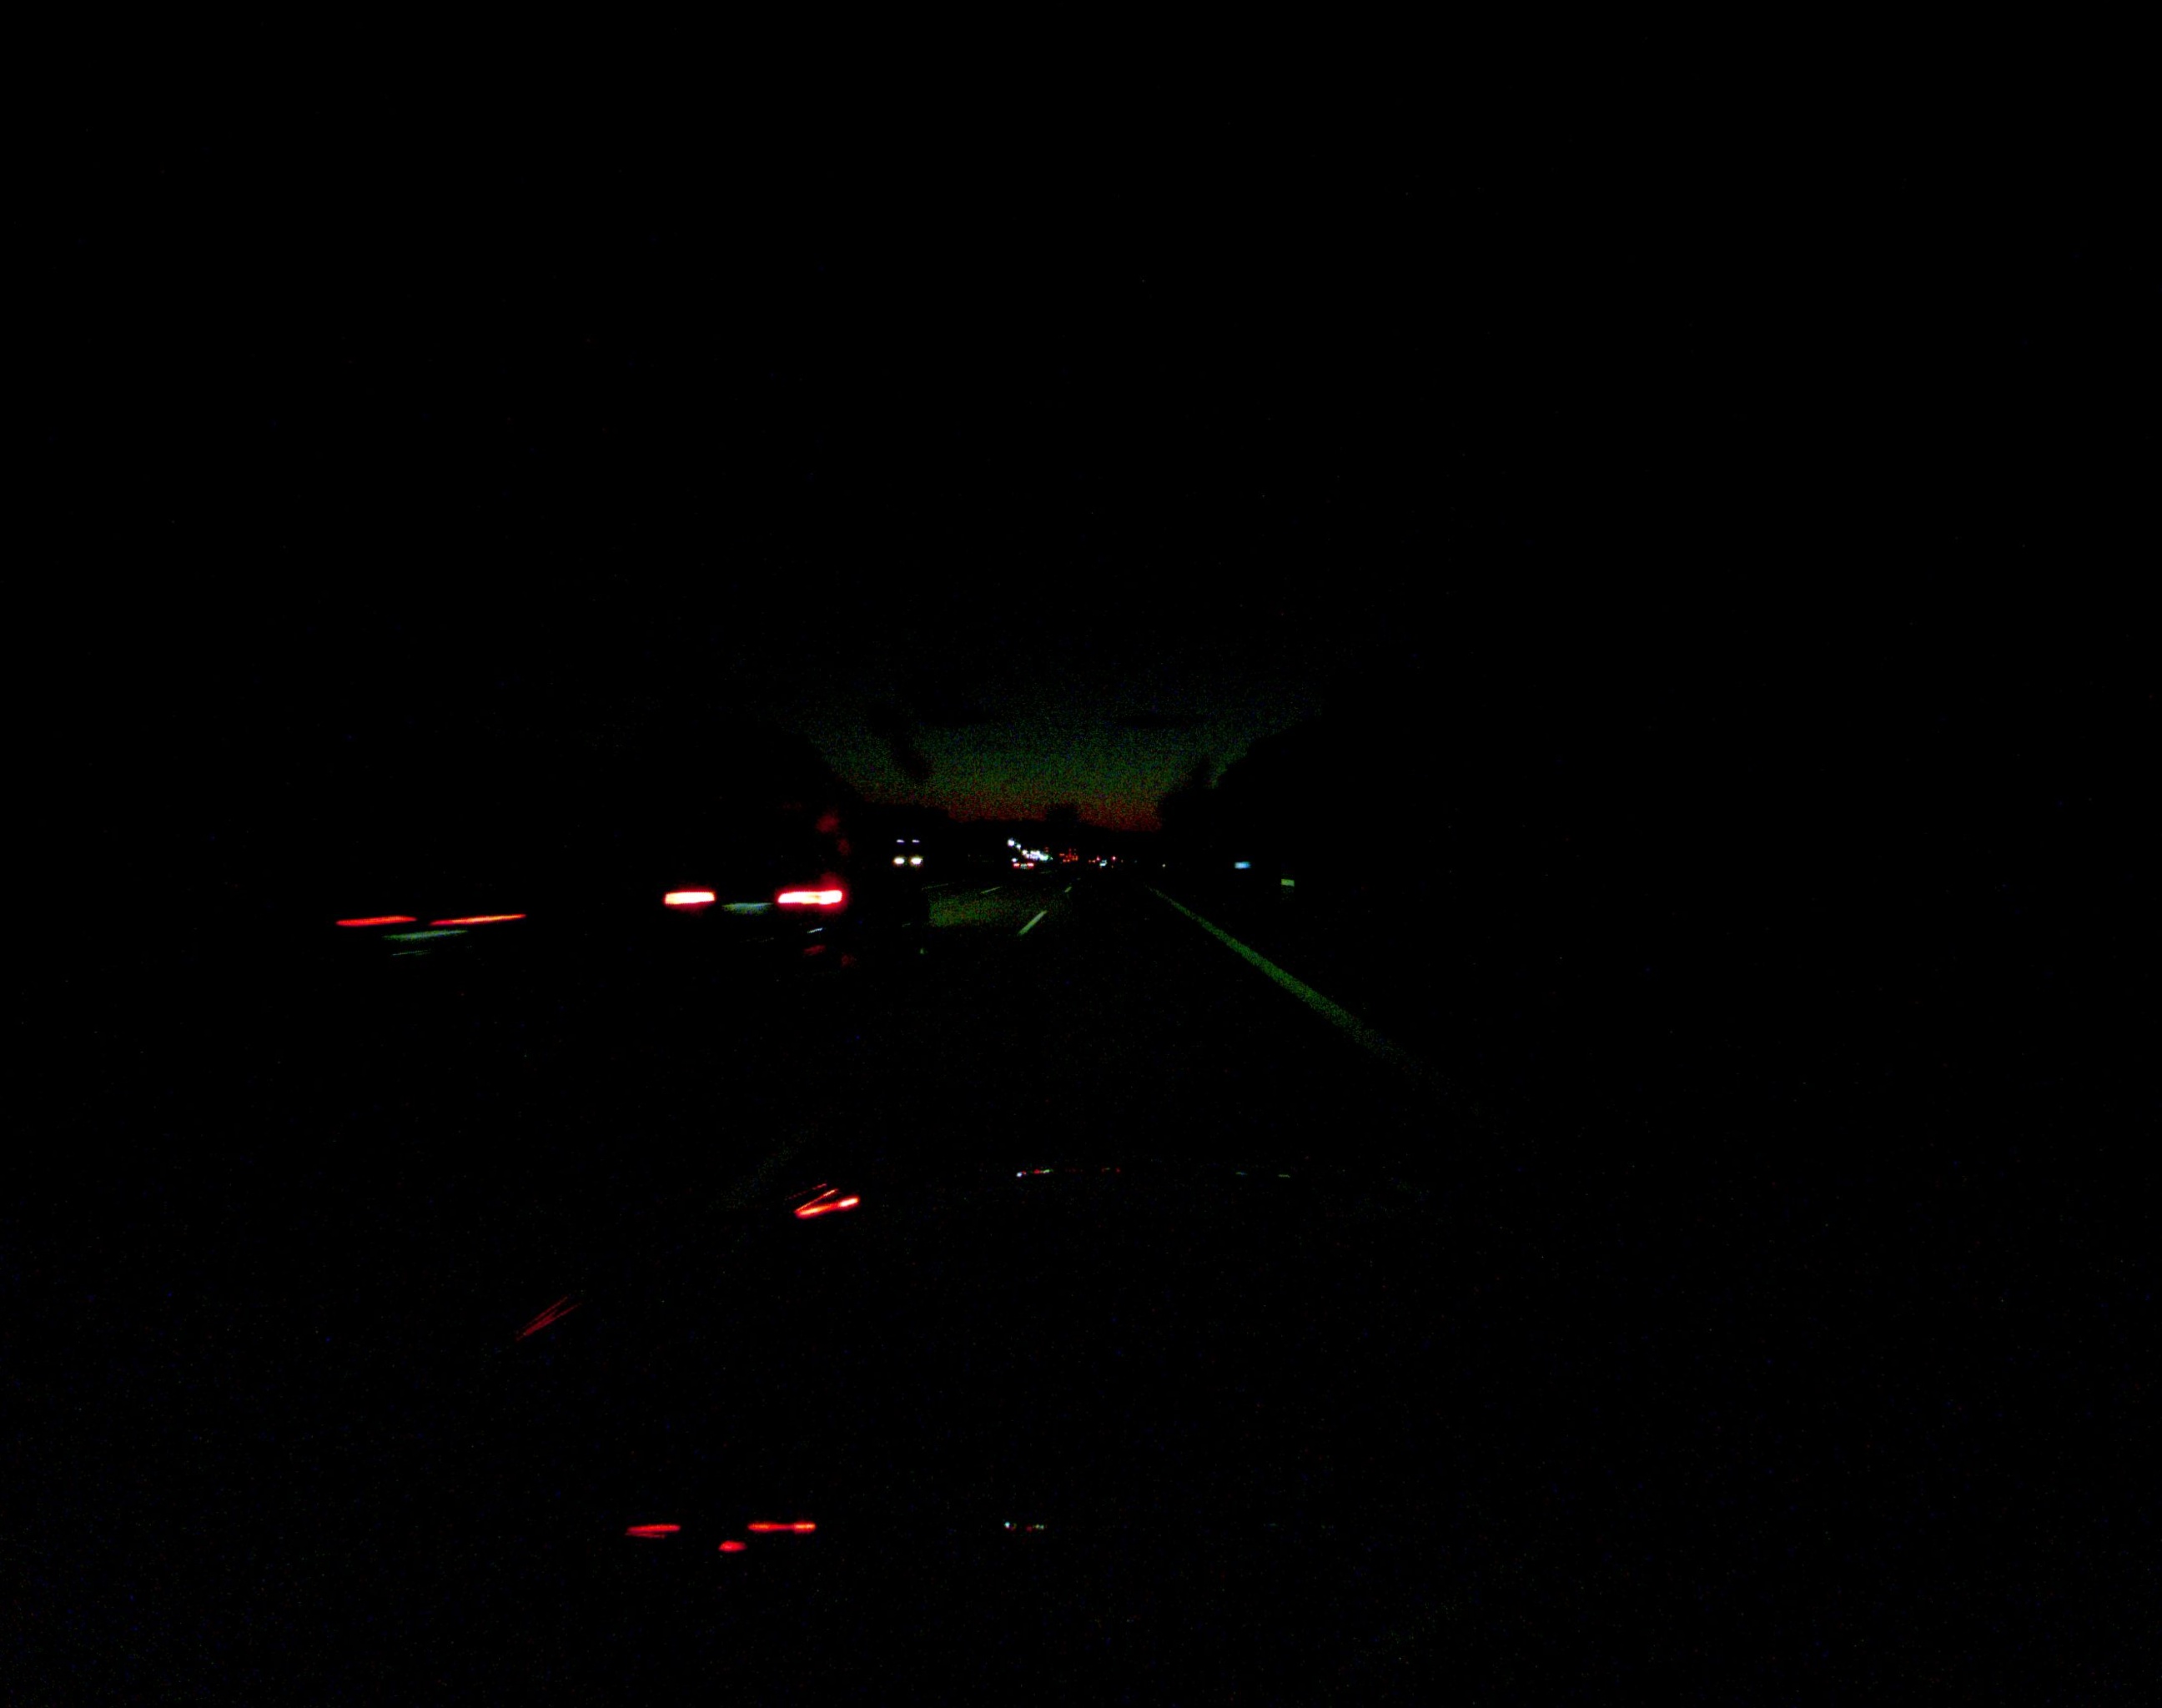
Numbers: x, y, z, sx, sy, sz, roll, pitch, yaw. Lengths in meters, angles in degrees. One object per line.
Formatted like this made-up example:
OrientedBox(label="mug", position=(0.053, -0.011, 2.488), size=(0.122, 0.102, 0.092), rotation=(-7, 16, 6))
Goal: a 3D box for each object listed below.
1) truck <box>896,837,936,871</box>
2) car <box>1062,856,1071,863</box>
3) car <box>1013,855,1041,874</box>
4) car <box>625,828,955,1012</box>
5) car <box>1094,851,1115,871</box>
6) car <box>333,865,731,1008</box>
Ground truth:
OrientedBox(label="truck", position=(-19.373, 0.014, 96.345), size=(2.509, 3.851, 9.070), rotation=(0, 0, 2))
OrientedBox(label="car", position=(-4.139, 1.487, 235.639), size=(2.188, 1.955, 4.636), rotation=(2, 1, 2))
OrientedBox(label="car", position=(-4.606, 0.877, 69.810), size=(1.772, 1.486, 5.257), rotation=(2, 1, 2))
OrientedBox(label="car", position=(-3.264, 0.666, 10.802), size=(1.985, 1.721, 5.946), rotation=(-2, -1, 2))
OrientedBox(label="car", position=(2.436, 0.675, 85.319), size=(2.189, 1.955, 4.764), rotation=(-1, 1, 1))
OrientedBox(label="car", position=(-6.861, 0.885, 11.163), size=(1.544, 1.431, 5.517), rotation=(-1, -1, 2))
